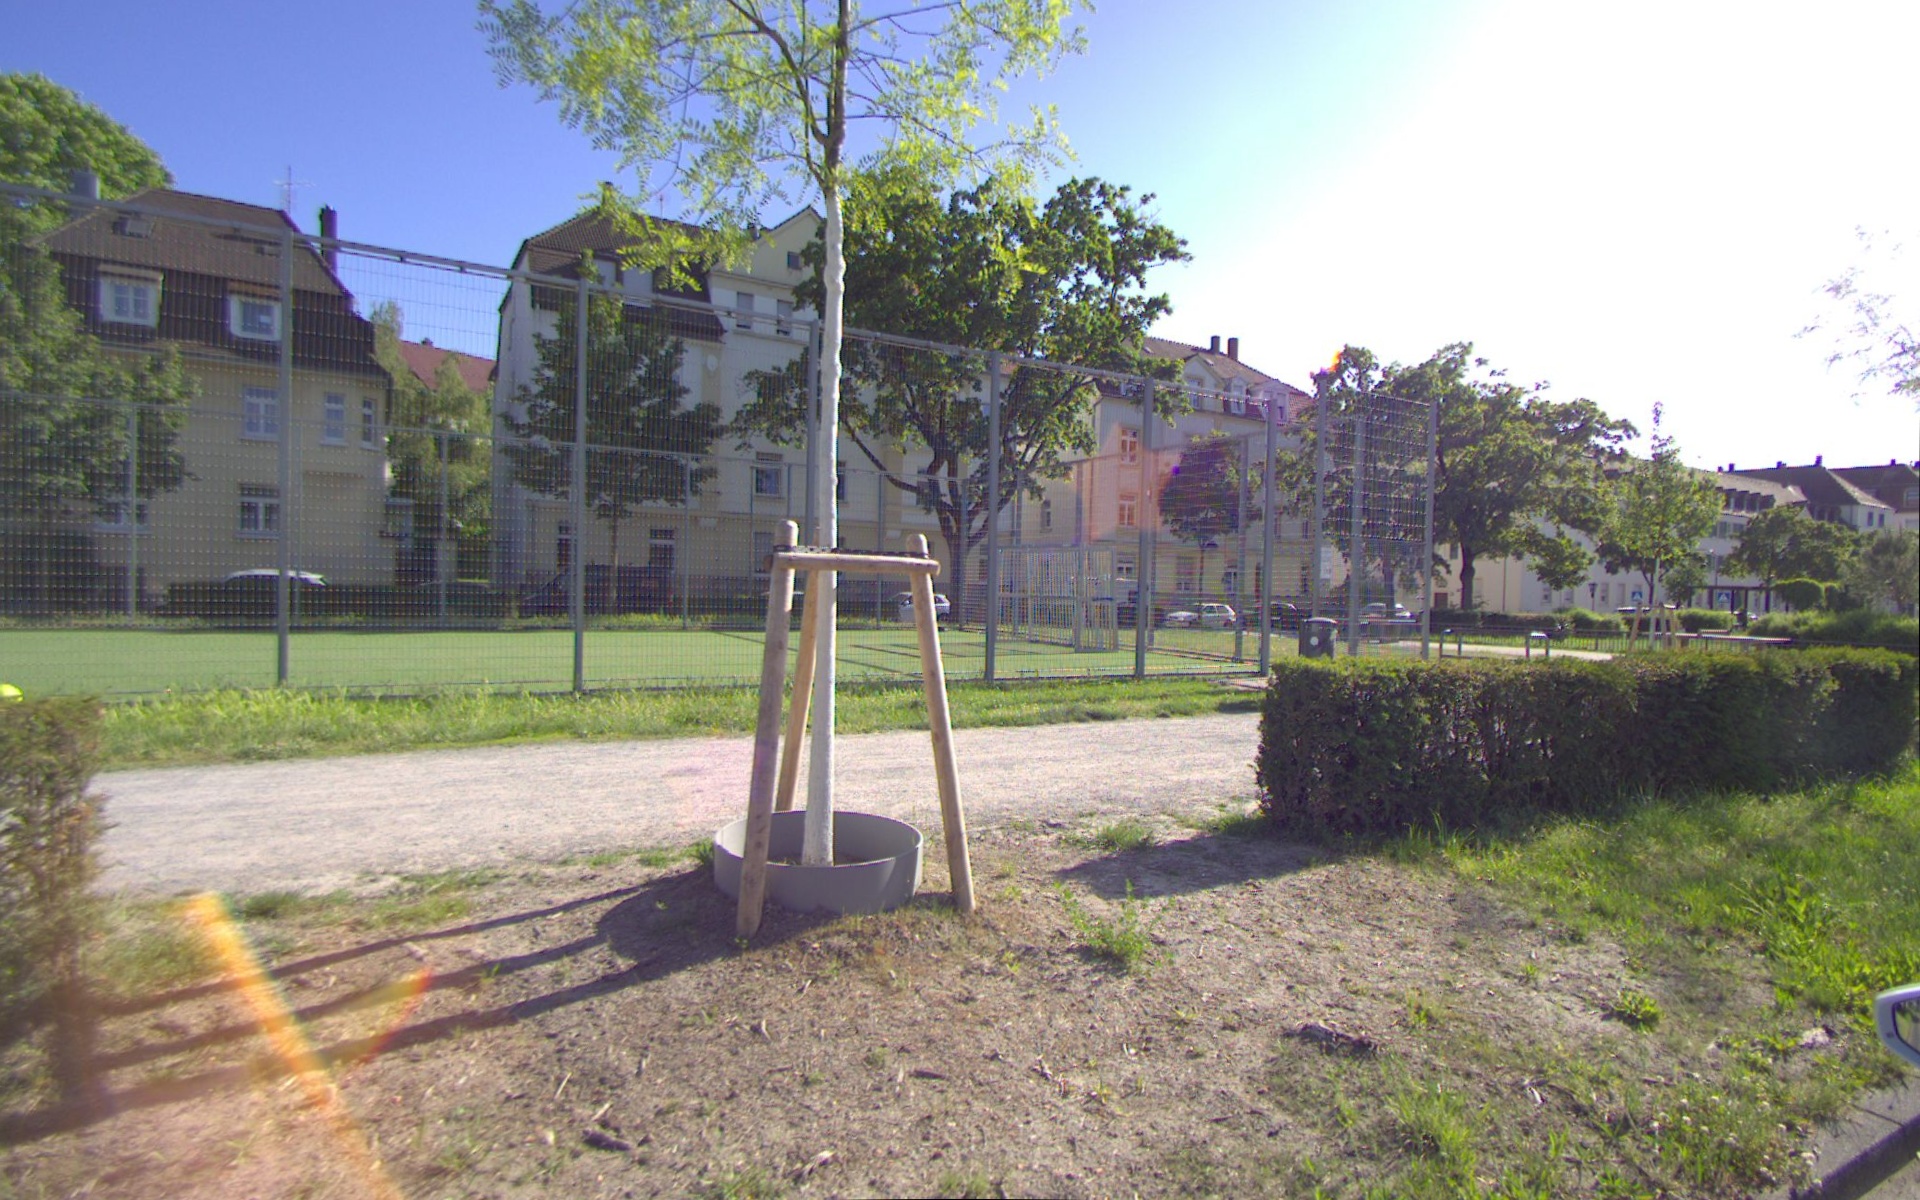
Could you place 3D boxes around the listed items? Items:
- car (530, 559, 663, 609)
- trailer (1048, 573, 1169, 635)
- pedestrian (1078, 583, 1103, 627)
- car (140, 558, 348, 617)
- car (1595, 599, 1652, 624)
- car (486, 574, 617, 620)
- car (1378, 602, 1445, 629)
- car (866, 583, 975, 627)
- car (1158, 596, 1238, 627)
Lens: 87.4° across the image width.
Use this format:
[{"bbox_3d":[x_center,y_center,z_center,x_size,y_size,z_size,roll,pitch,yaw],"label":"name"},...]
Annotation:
[{"bbox_3d":[-12.167,-0.531,33.661,3.953,1.530,1.785,1,1,-30],"label":"car"},{"bbox_3d":[7.384,0.191,49.890,5.737,2.909,2.331,1,1,-31],"label":"trailer"},{"bbox_3d":[4.979,0.191,38.321,0.642,1.683,0.645,1,0,-30],"label":"pedestrian"},{"bbox_3d":[-22.229,-0.381,31.502,5.122,1.674,1.872,1,1,-31],"label":"car"},{"bbox_3d":[47.013,0.795,71.155,3.954,1.674,1.785,1,1,-31],"label":"car"},{"bbox_3d":[-14.746,-0.102,36.290,4.182,1.530,1.785,1,1,-31],"label":"car"},{"bbox_3d":[27.981,0.987,62.289,3.953,1.530,1.785,1,1,-30],"label":"car"},{"bbox_3d":[-1.697,0.216,44.044,4.436,1.801,1.785,1,1,-31],"label":"car"},{"bbox_3d":[12.613,0.610,53.176,3.953,1.530,1.785,1,1,-30],"label":"car"}]
